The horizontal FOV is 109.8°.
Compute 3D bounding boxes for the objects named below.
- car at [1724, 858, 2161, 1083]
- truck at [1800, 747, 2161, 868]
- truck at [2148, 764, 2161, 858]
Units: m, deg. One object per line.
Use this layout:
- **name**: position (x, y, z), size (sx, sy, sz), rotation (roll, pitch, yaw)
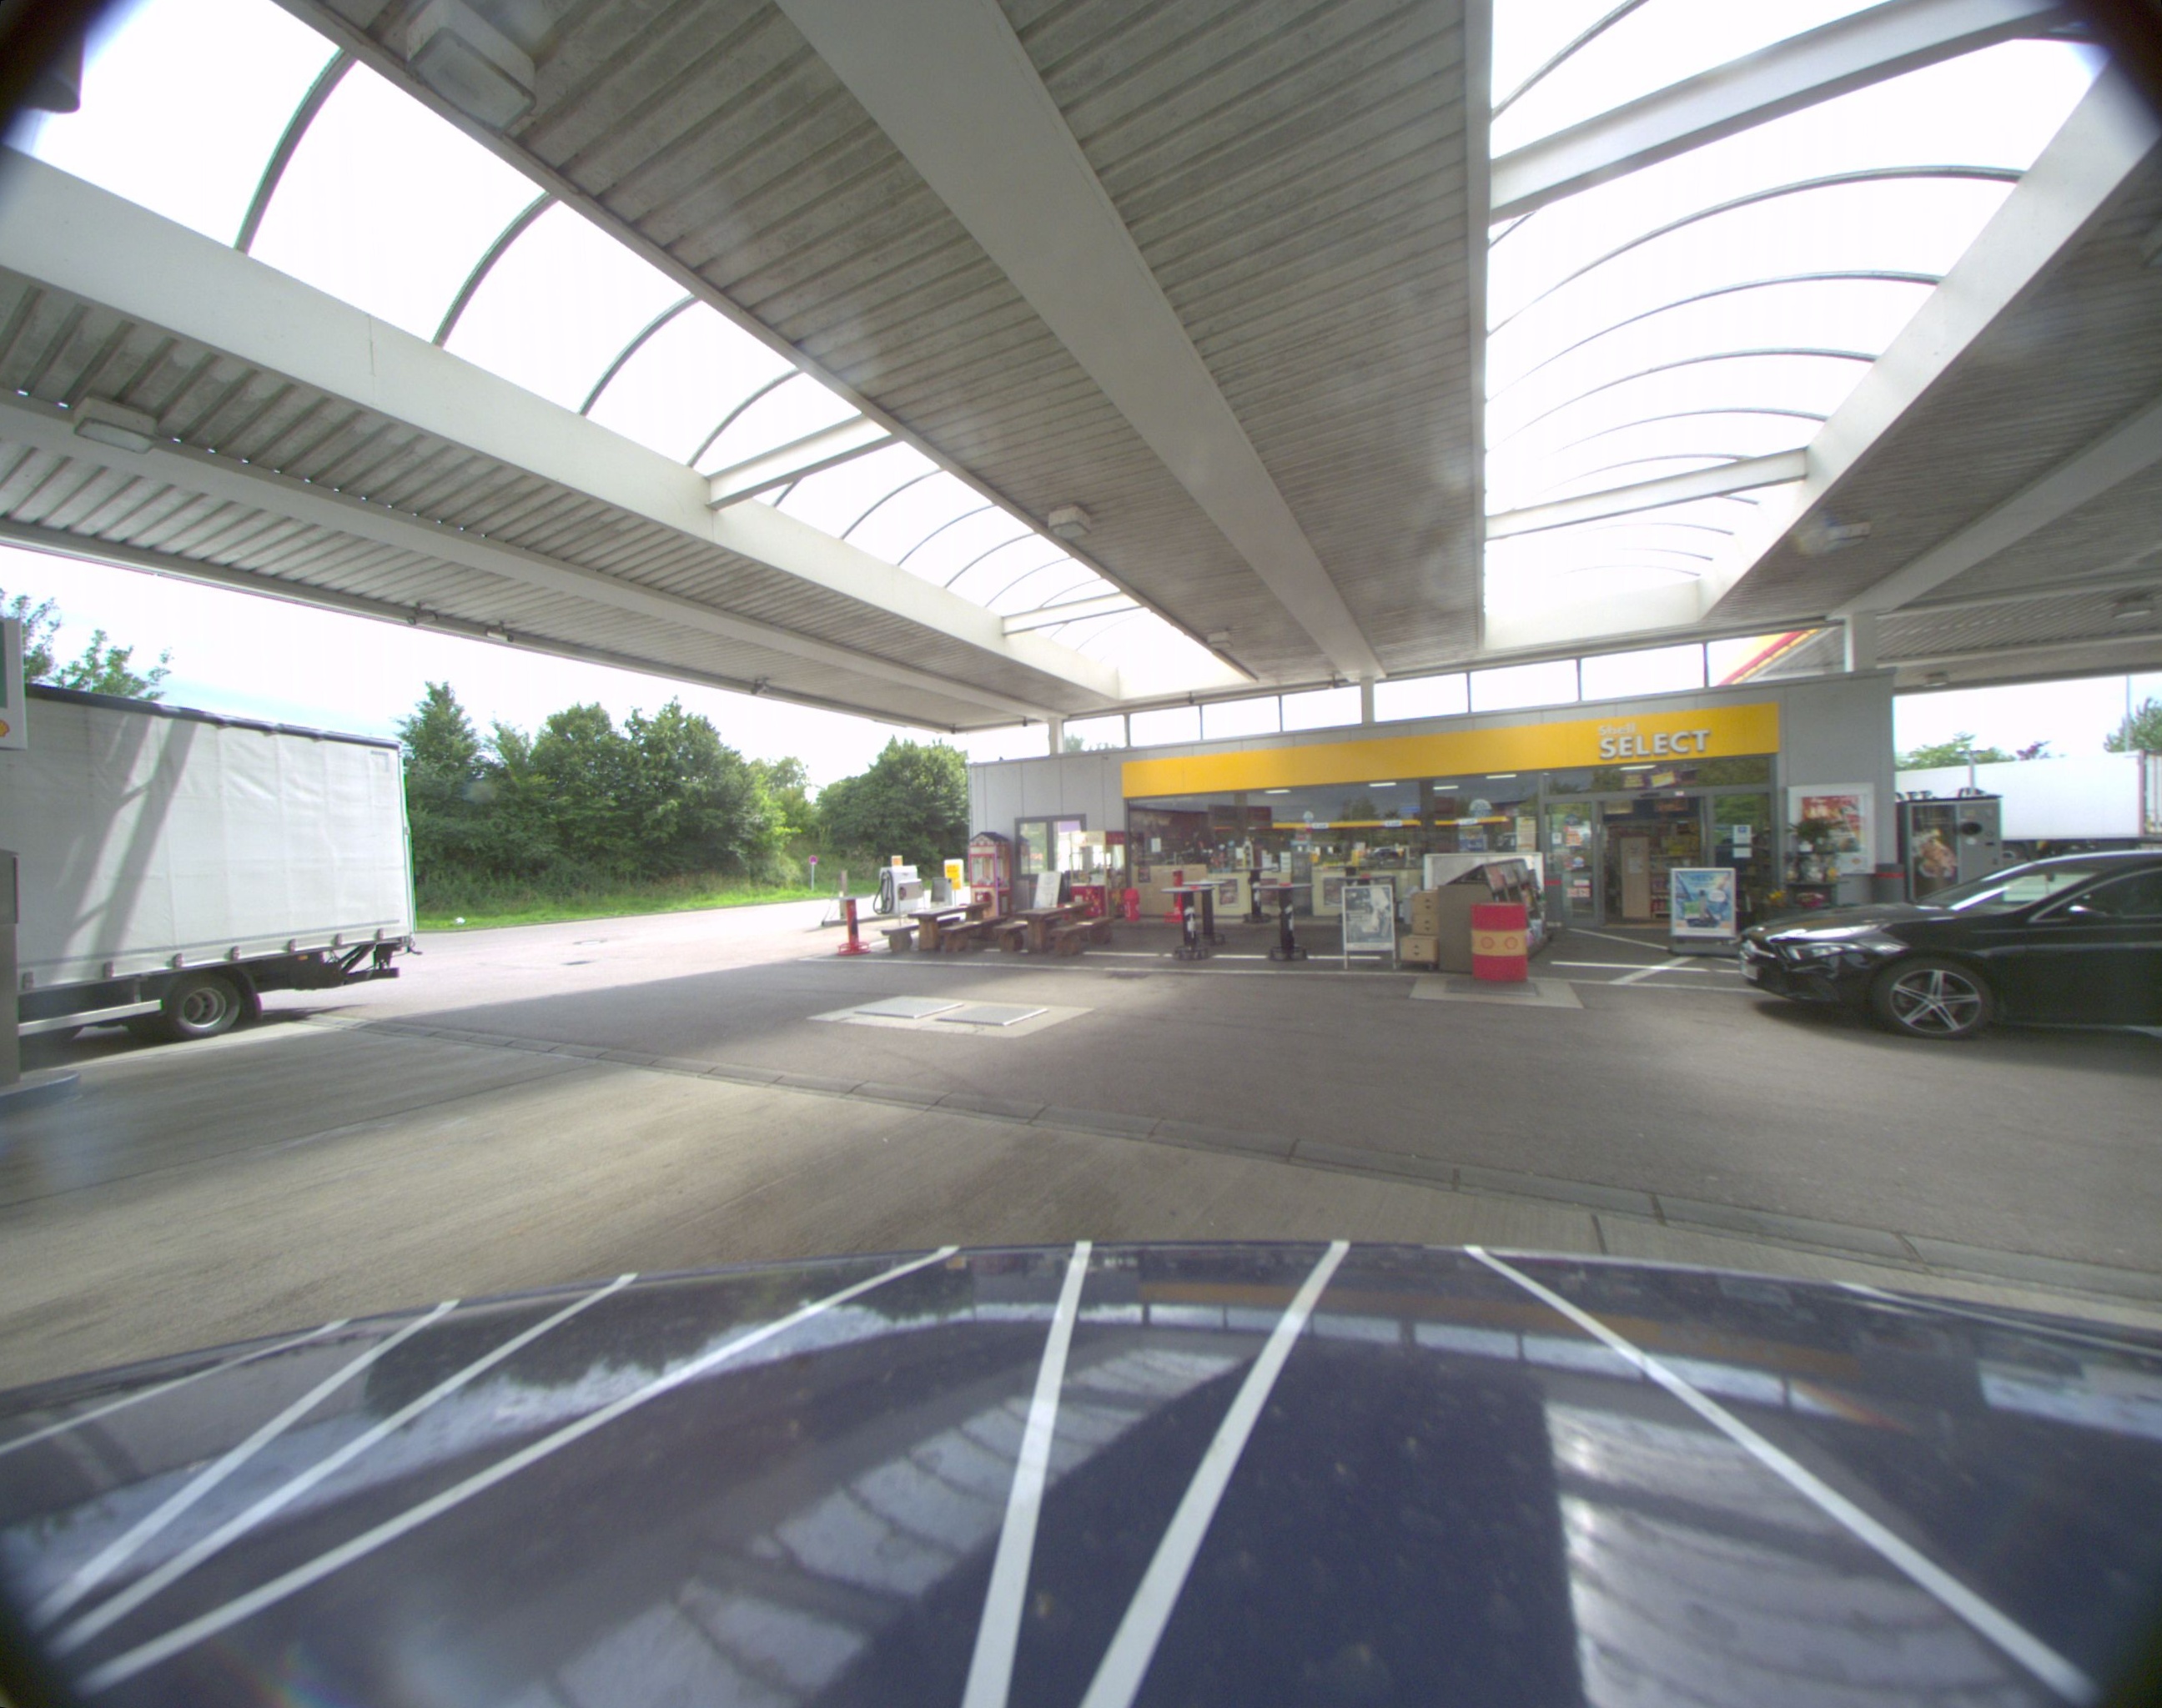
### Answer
- **car**: position (8.158, 0.821, 5.962), size (4.461, 1.491, 1.782), rotation (-2, 1, 28)
- **truck**: position (35.124, -1.594, 30.048), size (2.796, 3.982, 9.578), rotation (-2, 1, -16)
- **truck**: position (51.472, -2.014, 33.128), size (3.383, 4.479, 6.239), rotation (-2, 1, 29)
